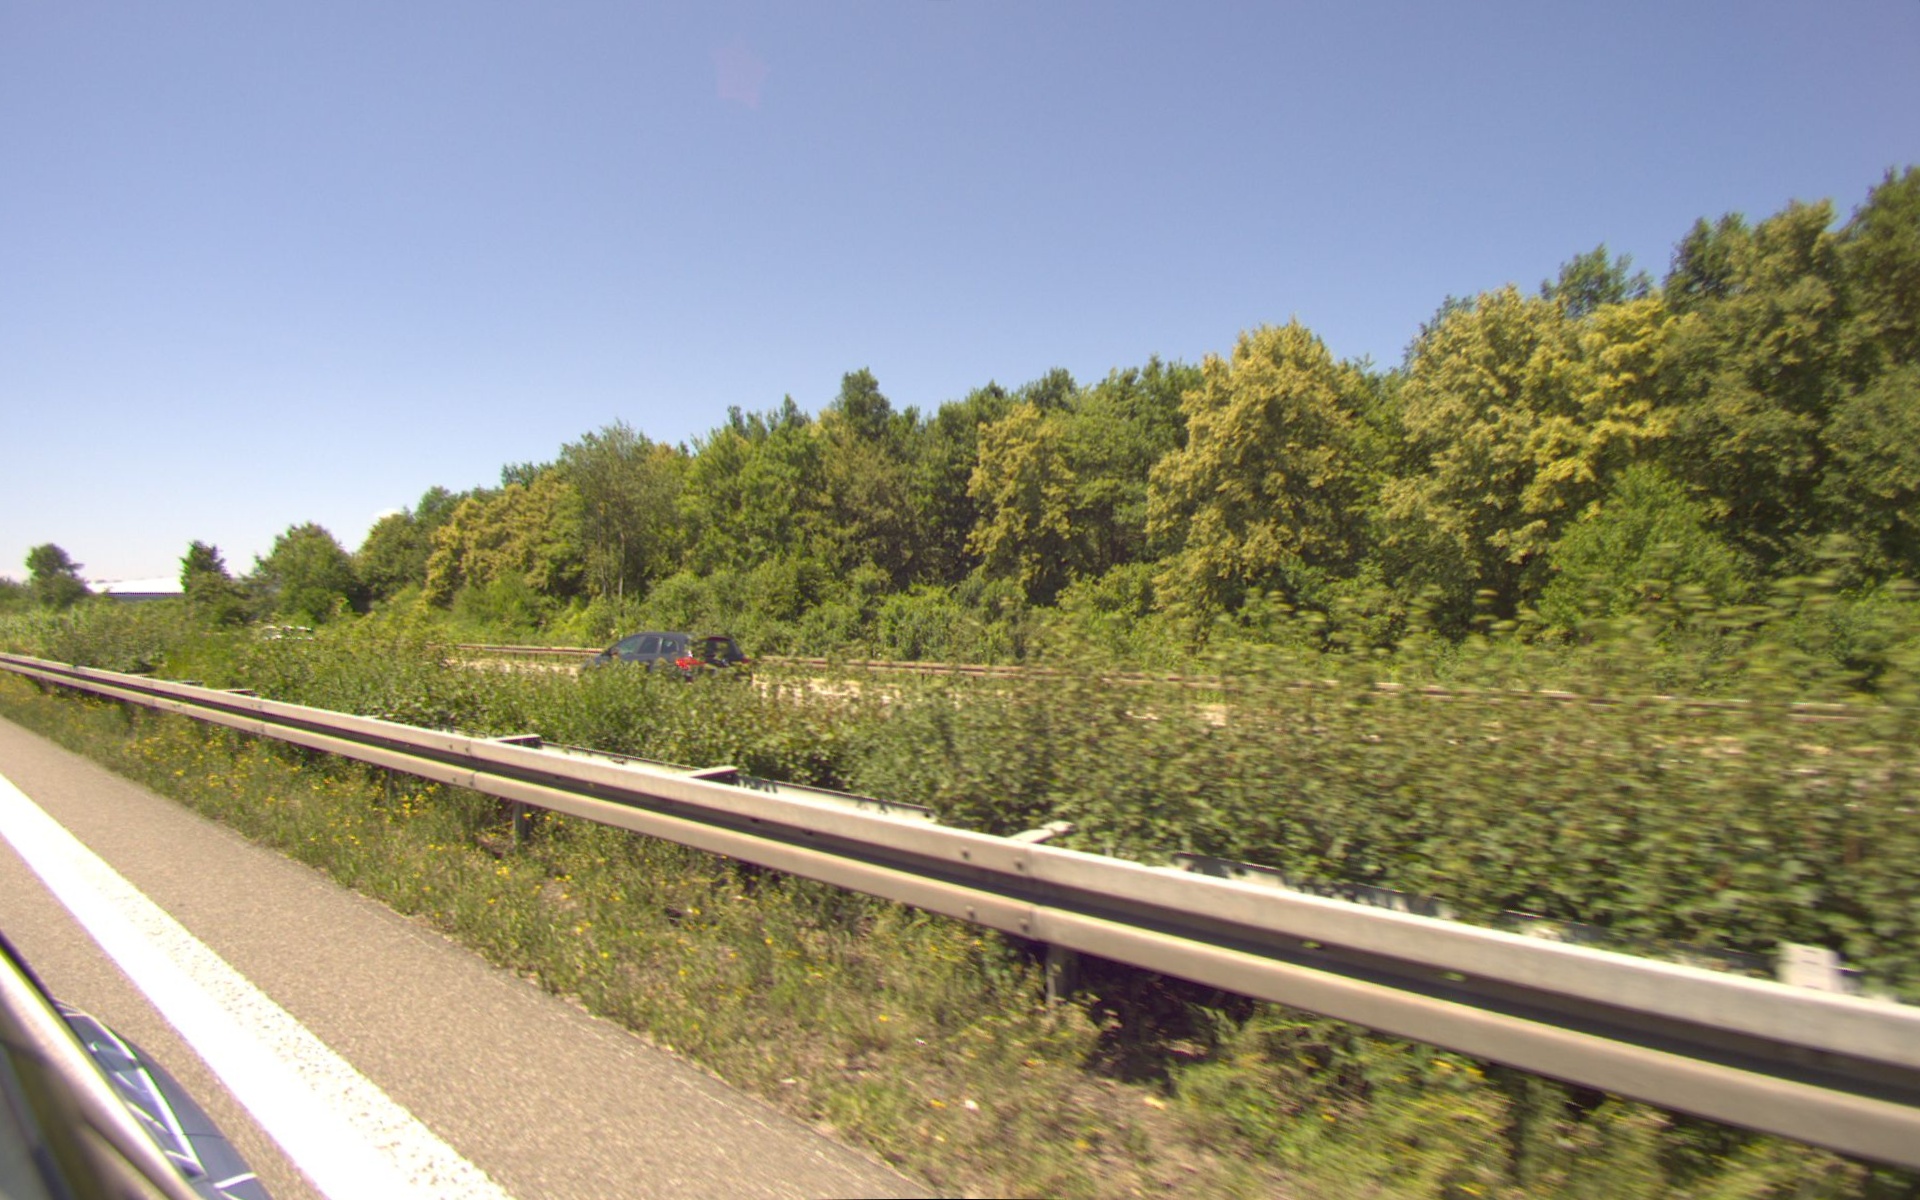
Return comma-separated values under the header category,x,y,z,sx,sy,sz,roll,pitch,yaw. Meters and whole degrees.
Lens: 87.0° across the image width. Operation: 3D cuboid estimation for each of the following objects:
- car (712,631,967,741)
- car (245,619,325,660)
category,x,y,z,sx,sy,sz,roll,pitch,yaw
car,-2.092,1.312,16.792,4.391,1.529,1.728,-1,-1,41
car,-26.232,1.499,39.275,3.998,1.529,1.591,-1,-1,41
